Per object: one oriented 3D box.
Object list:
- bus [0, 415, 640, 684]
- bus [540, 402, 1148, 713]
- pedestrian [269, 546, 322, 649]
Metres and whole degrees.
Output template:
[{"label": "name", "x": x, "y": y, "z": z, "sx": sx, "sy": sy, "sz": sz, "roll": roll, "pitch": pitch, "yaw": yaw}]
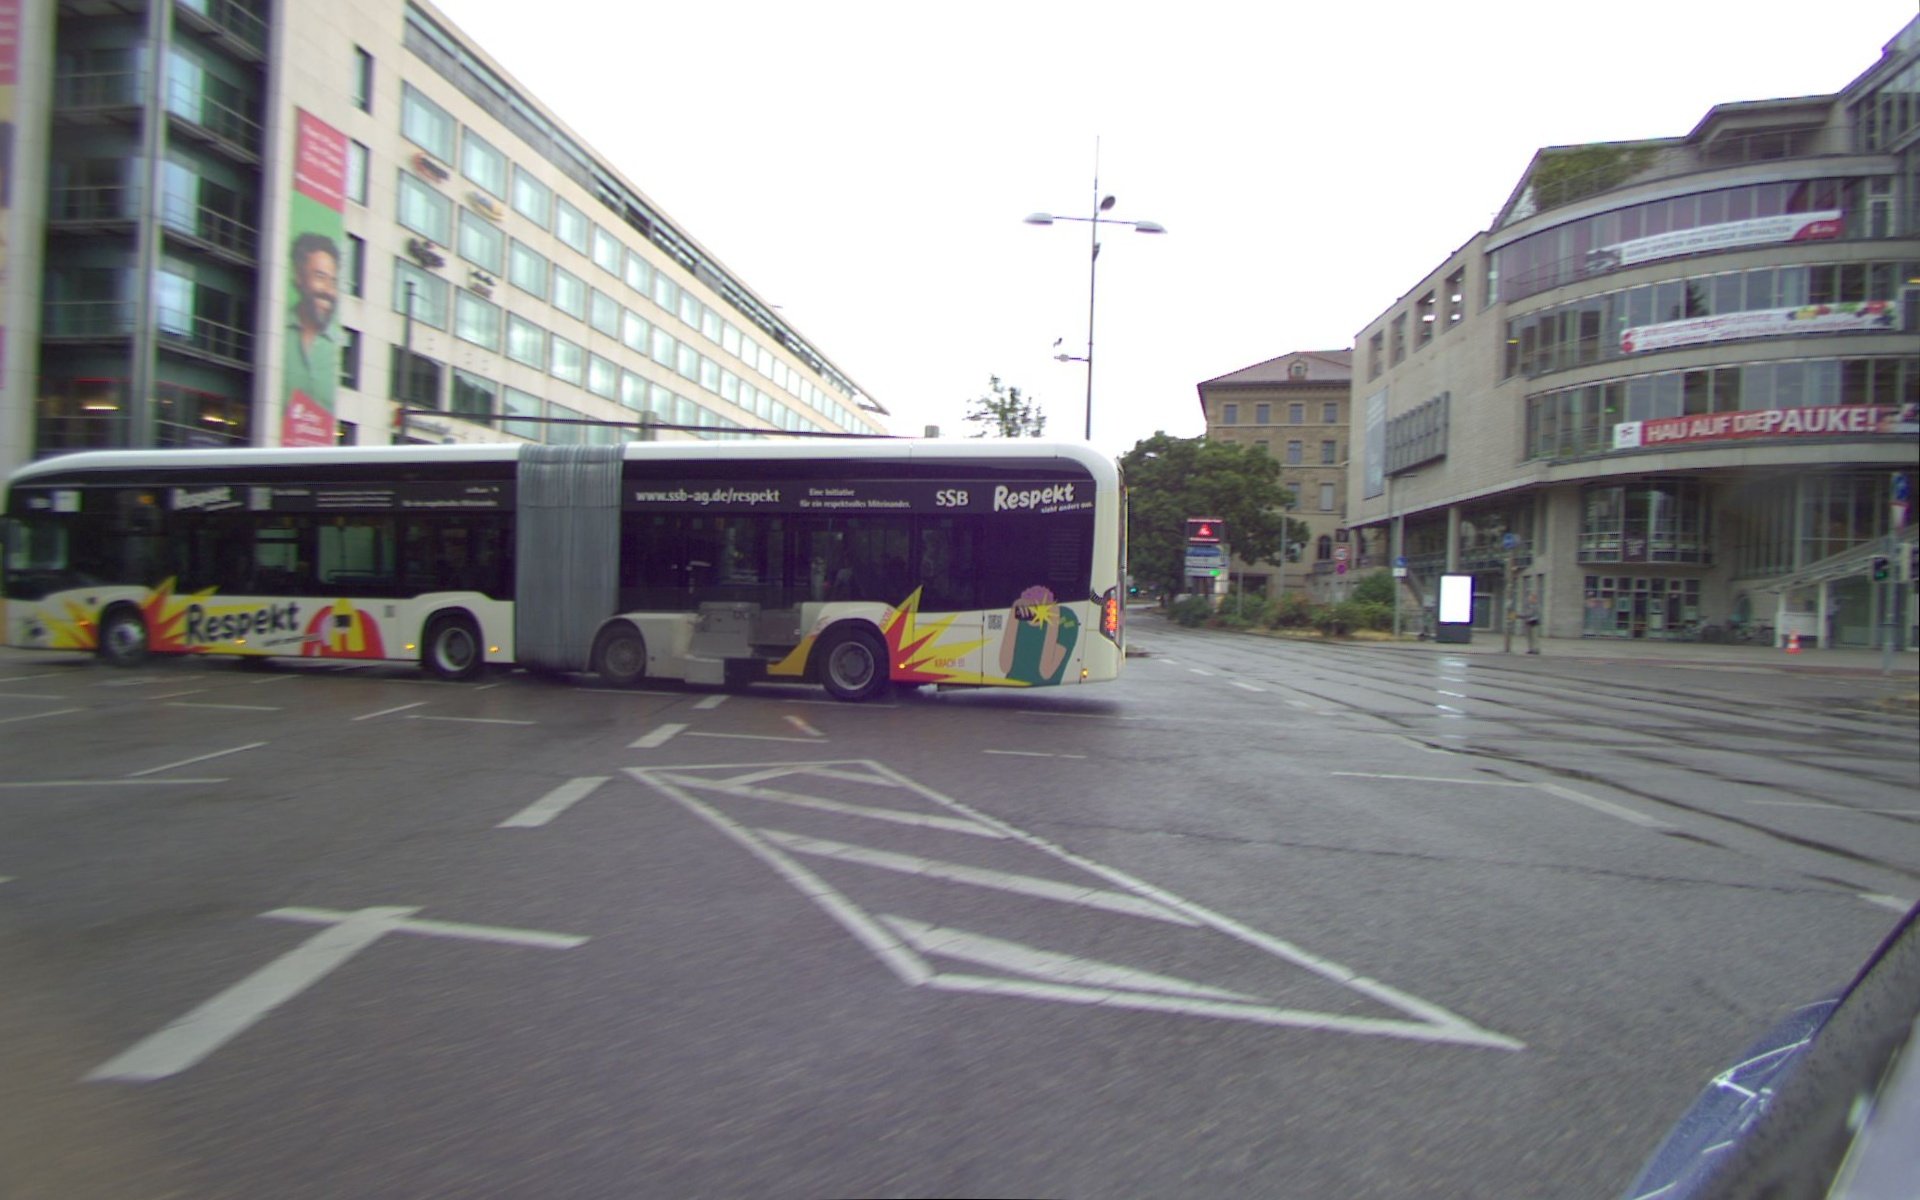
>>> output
[{"label": "bus", "x": -10.415, "y": -0.794, "z": 16.067, "sx": 10.163, "sy": 3.634, "sz": 2.677, "roll": 1, "pitch": 0, "yaw": 12}, {"label": "bus", "x": -1.507, "y": -0.591, "z": 14.076, "sx": 7.968, "sy": 3.634, "sz": 2.676, "roll": 1, "pitch": 0, "yaw": 14}, {"label": "pedestrian", "x": -12.936, "y": -0.054, "z": 19.721, "sx": 0.811, "sy": 1.961, "sz": 0.709, "roll": 1, "pitch": 0, "yaw": -33}]
